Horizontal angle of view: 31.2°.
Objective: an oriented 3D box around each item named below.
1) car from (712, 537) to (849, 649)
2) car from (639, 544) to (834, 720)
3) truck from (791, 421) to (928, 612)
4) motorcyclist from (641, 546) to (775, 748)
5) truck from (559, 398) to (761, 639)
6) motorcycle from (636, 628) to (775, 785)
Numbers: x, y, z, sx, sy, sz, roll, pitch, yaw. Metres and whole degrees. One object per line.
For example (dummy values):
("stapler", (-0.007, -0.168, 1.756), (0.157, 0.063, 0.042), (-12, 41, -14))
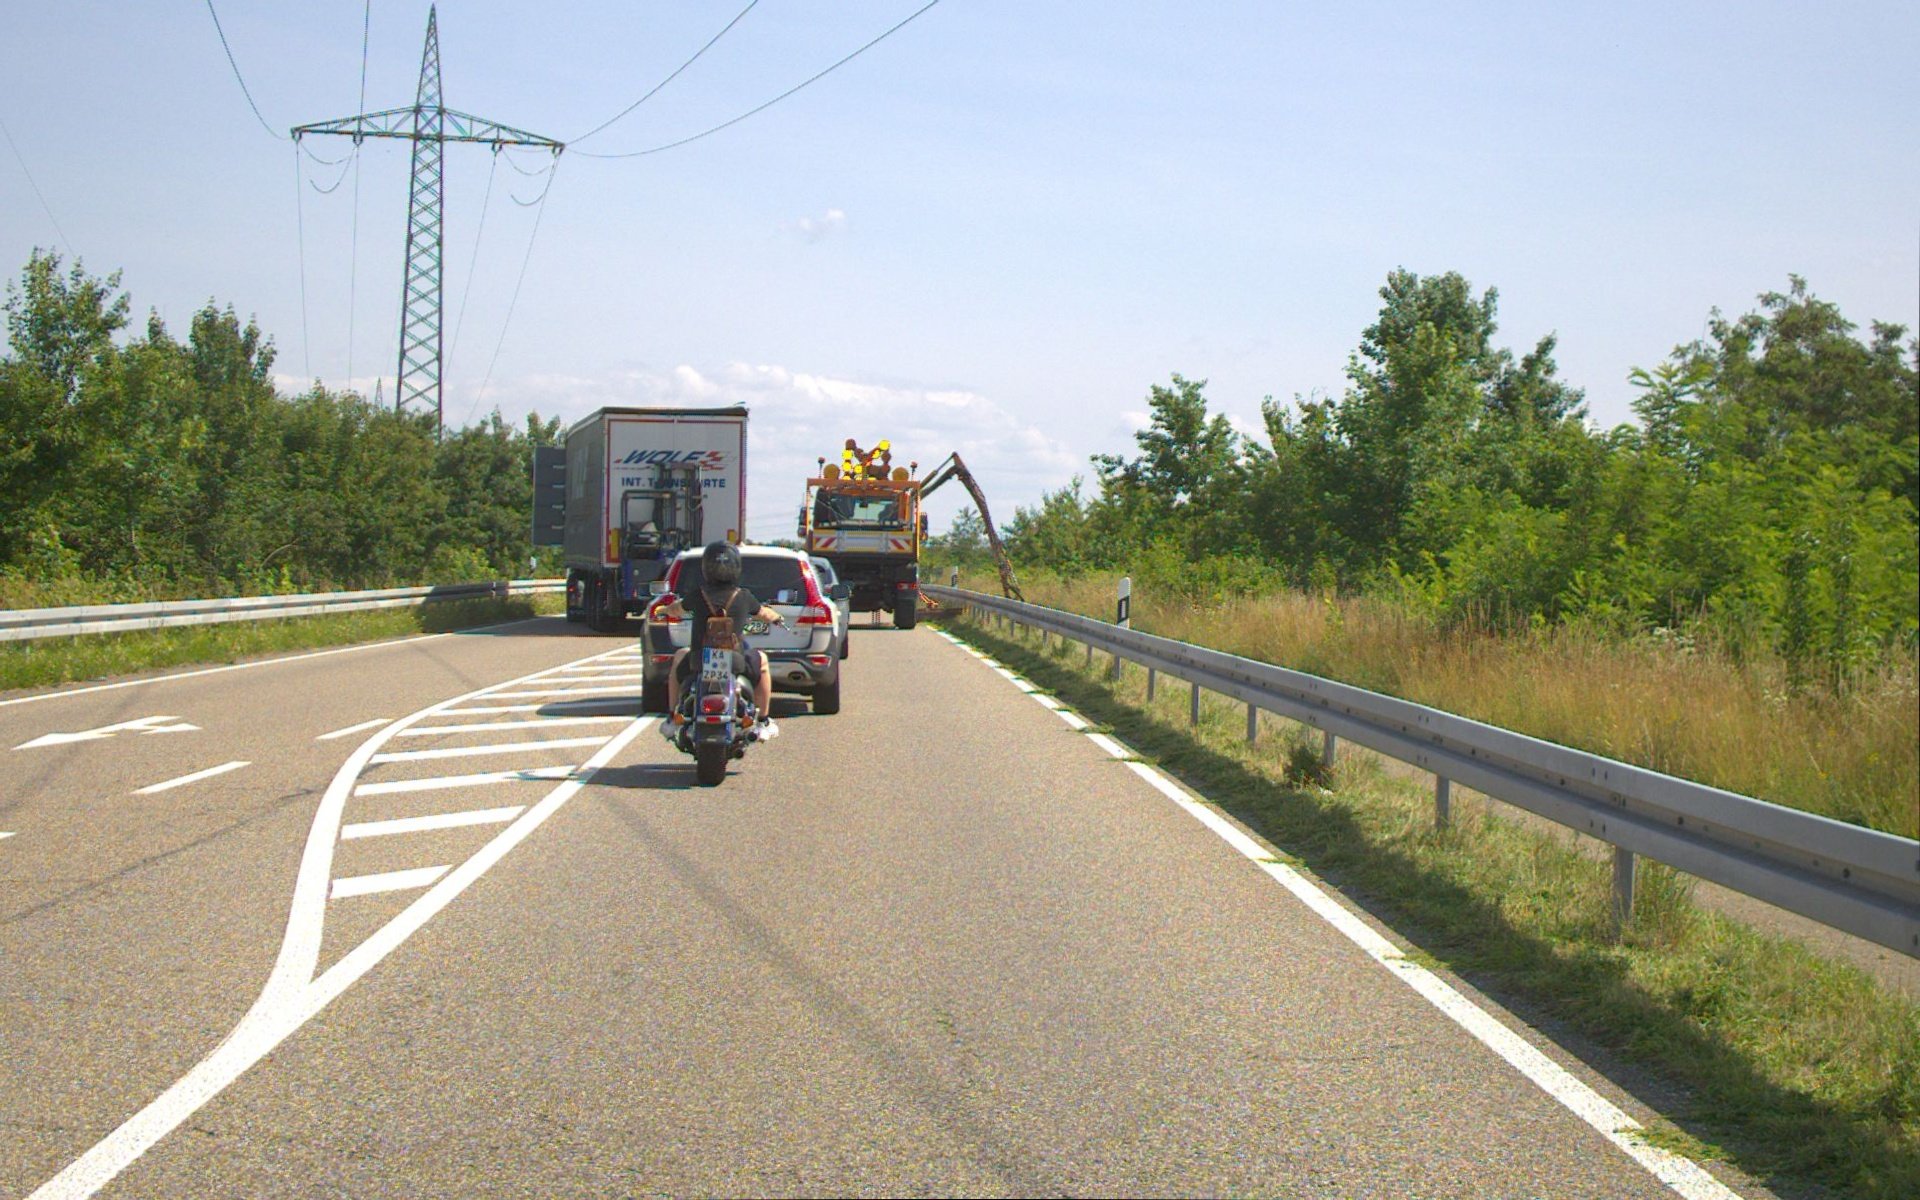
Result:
("car", (-2.546, -0.125, 49.106), (1.854, 1.484, 3.741), (1, 1, -3))
("car", (-2.119, 0.255, 32.284), (1.700, 1.531, 3.500), (1, 1, -4))
("truck", (-2.126, -1.694, 70.751), (2.613, 3.698, 6.778), (1, 1, -3))
("motorcyclist", (-1.645, 0.296, 22.534), (0.837, 1.276, 0.919), (1, 1, -4))
("truck", (-6.120, -1.565, 67.766), (2.967, 4.172, 14.826), (1, 1, -9))
("motorcycle", (-1.660, 0.675, 22.590), (0.858, 0.912, 2.228), (1, 1, -4))
